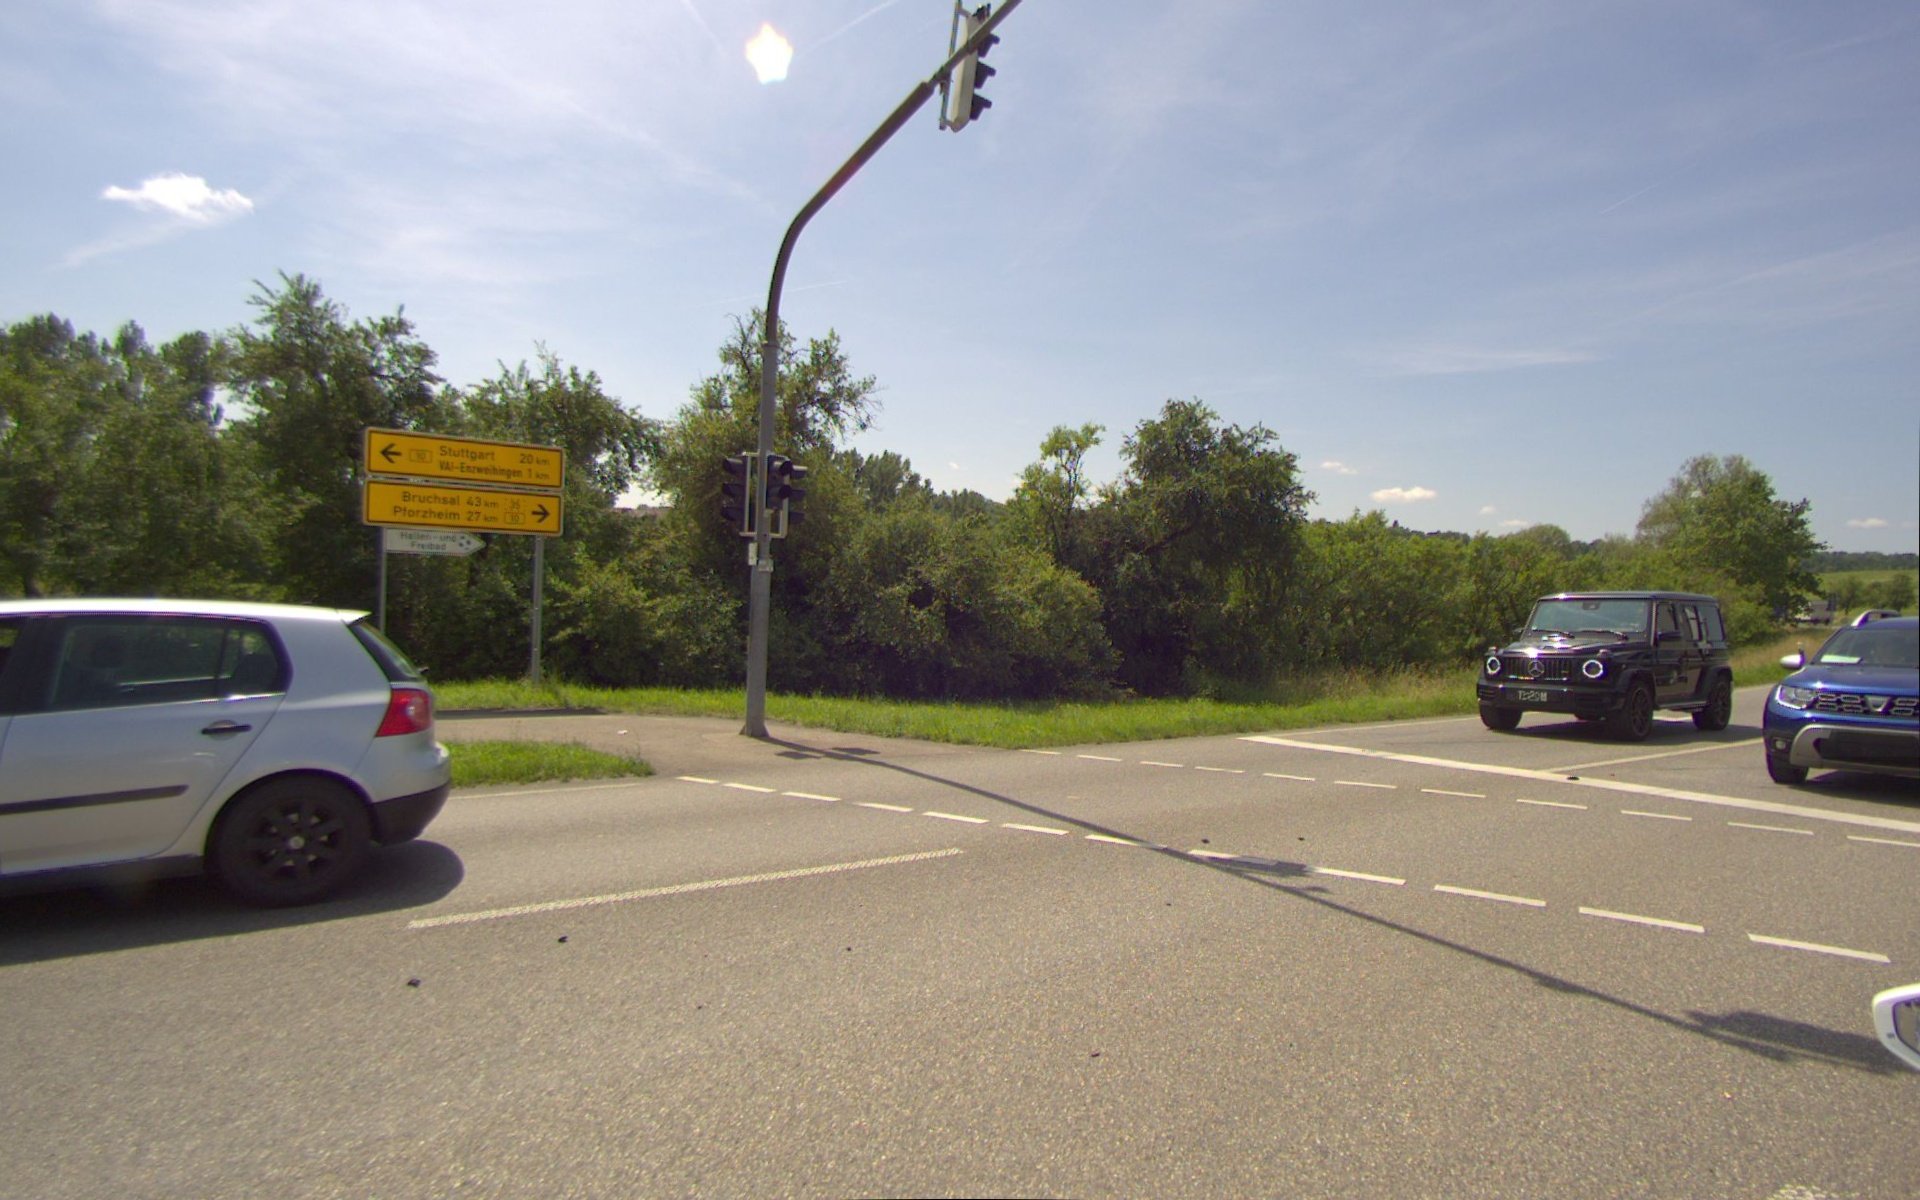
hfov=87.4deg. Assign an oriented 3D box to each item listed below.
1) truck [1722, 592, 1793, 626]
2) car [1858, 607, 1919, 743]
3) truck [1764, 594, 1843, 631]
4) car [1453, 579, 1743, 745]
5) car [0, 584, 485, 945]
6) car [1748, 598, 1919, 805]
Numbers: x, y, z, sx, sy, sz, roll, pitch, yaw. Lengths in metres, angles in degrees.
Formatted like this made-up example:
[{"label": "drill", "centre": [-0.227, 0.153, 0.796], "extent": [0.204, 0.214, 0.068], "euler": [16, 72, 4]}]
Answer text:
[{"label": "truck", "centre": [110.472, 1.353, 139.455], "extent": [3.471, 4.296, 13.406], "euler": [3, 0, 20]}, {"label": "car", "centre": [13.695, 0.985, 13.423], "extent": [3.962, 1.680, 1.759], "euler": [2, -1, -36]}, {"label": "truck", "centre": [104.130, 1.684, 124.356], "extent": [3.579, 4.184, 13.093], "euler": [3, 0, 23]}, {"label": "car", "centre": [9.433, 0.818, 14.664], "extent": [5.119, 2.032, 1.979], "euler": [2, 0, -38]}, {"label": "car", "centre": [-4.617, 0.697, 4.886], "extent": [3.958, 1.515, 1.760], "euler": [2, -2, -34]}, {"label": "car", "centre": [9.212, 0.877, 9.609], "extent": [3.965, 1.680, 1.757], "euler": [2, -1, -38]}]
